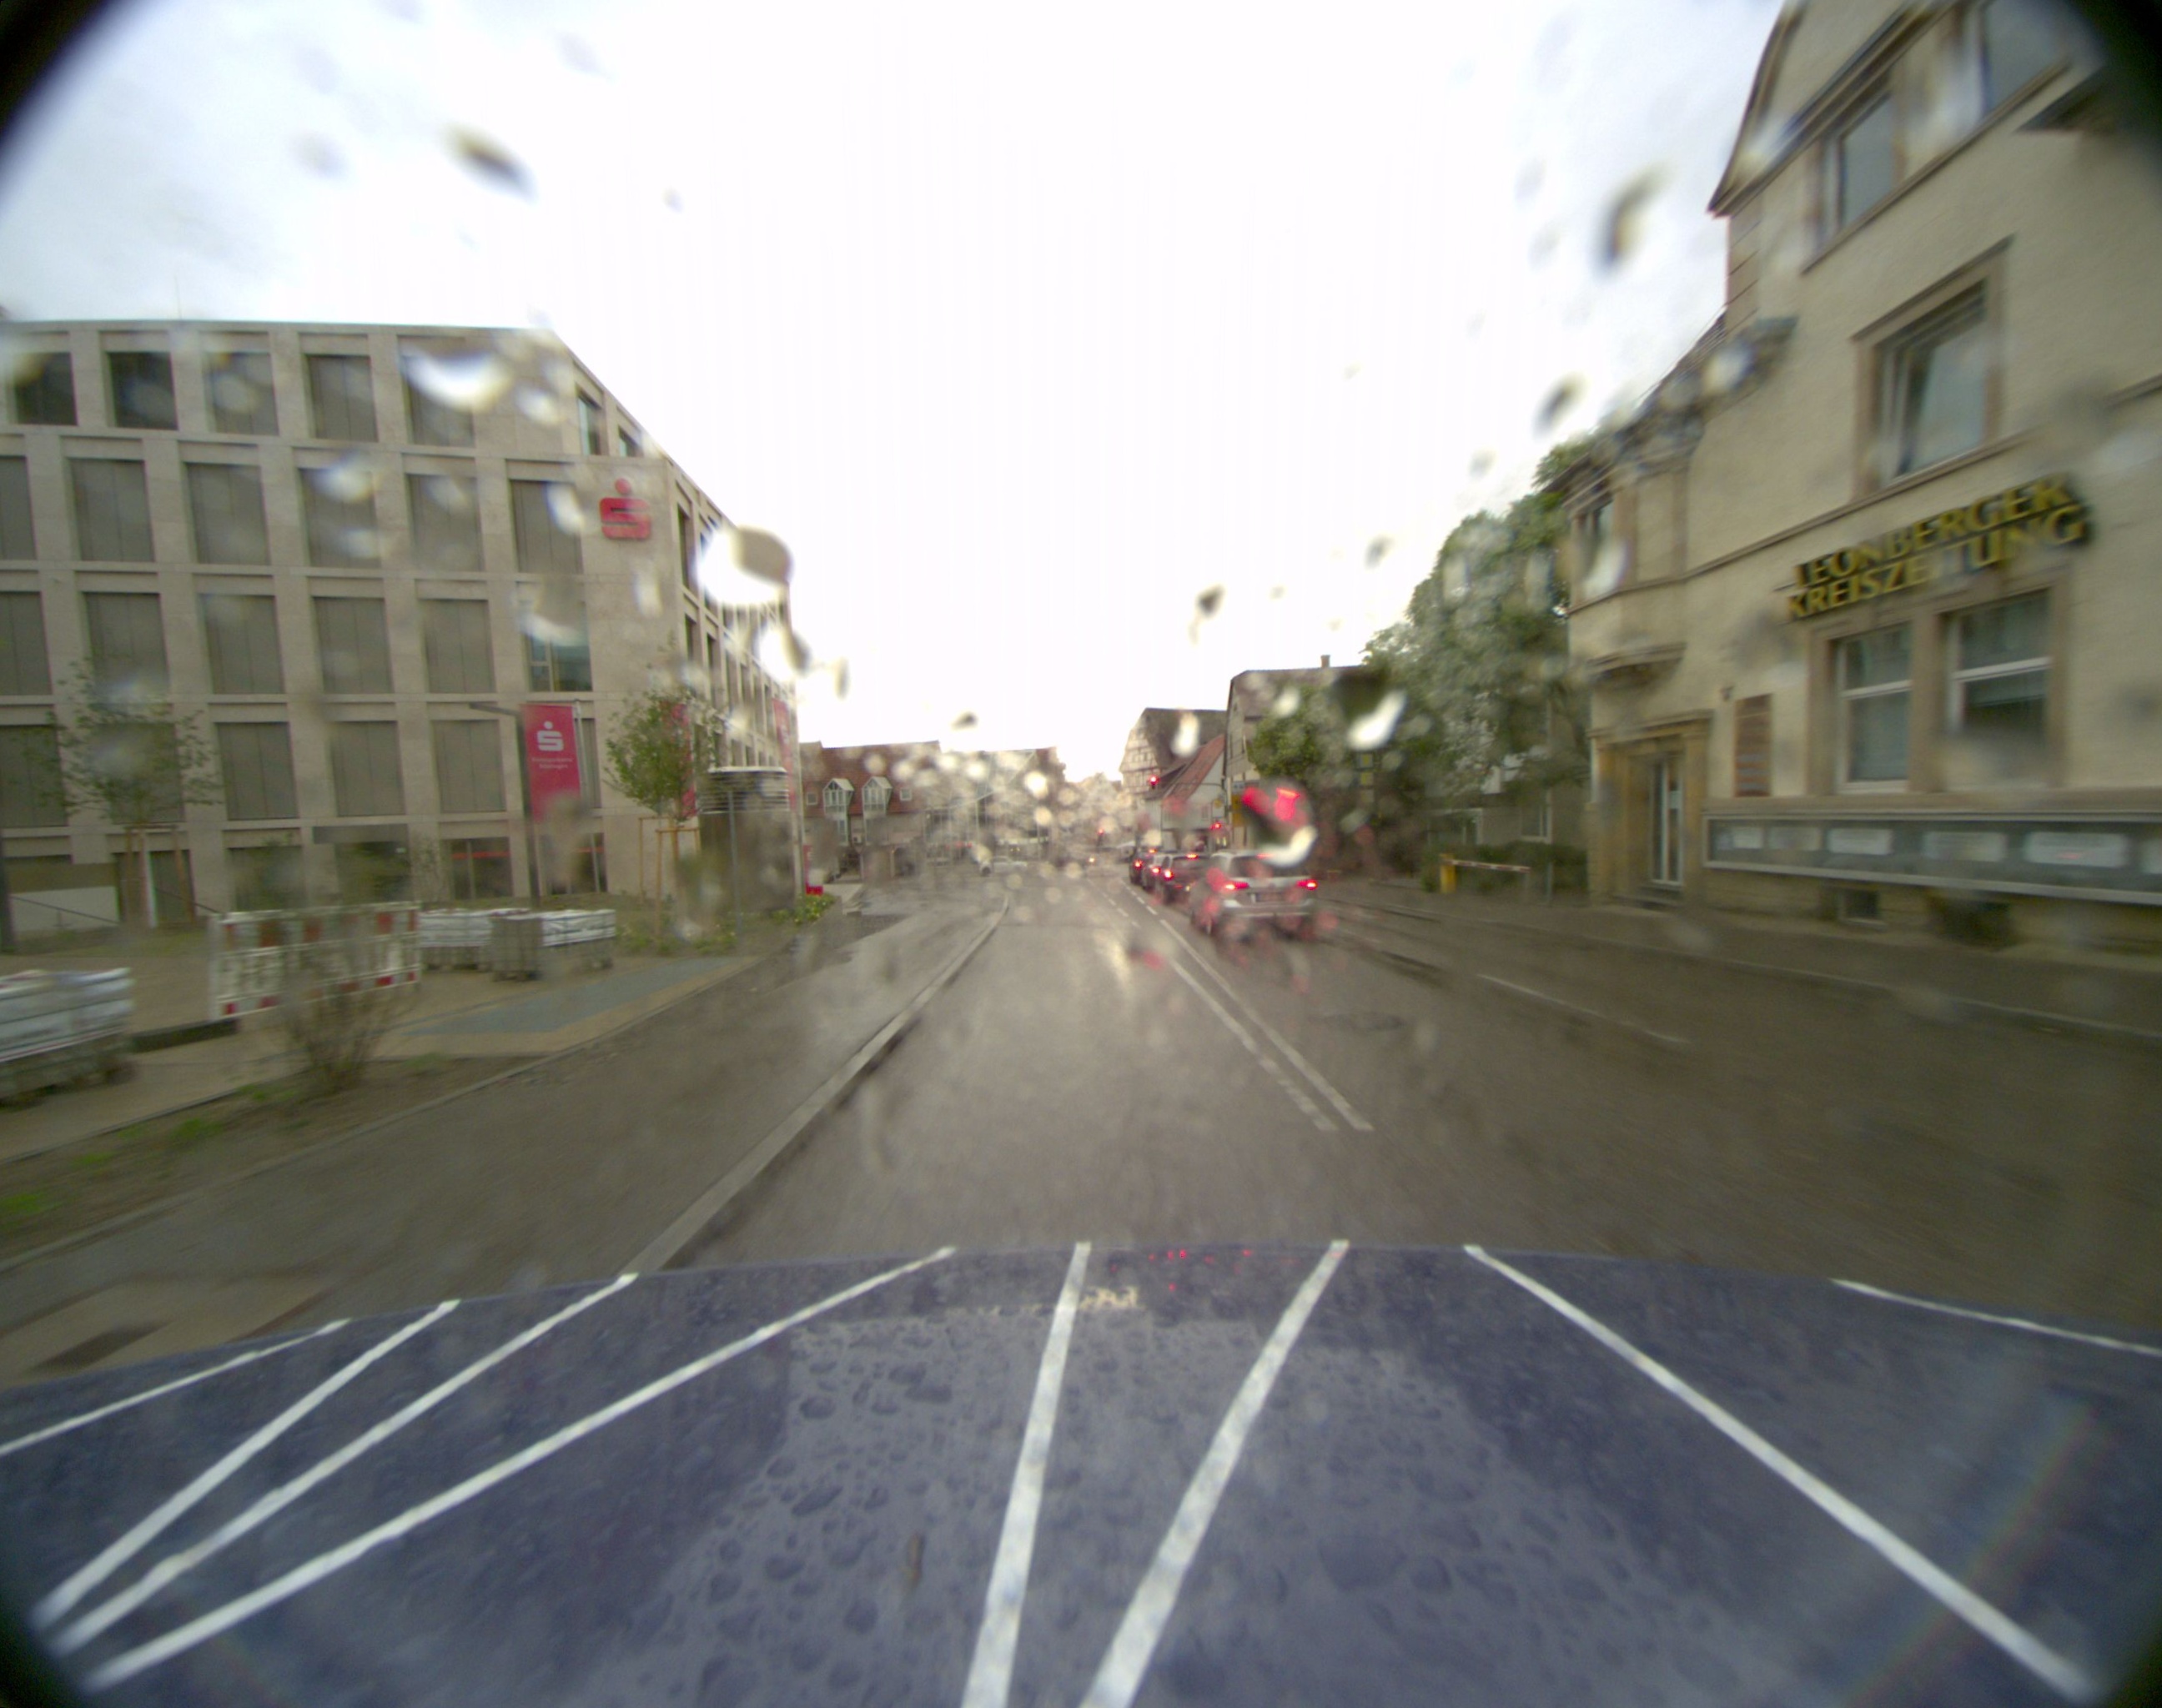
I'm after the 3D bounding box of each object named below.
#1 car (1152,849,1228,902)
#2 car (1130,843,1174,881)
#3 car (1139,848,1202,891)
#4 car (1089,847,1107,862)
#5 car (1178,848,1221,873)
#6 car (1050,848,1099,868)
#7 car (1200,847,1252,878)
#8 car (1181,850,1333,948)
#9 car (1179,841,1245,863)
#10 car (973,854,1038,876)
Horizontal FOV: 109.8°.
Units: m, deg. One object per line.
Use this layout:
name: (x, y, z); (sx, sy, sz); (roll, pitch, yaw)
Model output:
car: (3.313, 0.594, 23.901); (1.803, 1.431, 4.689); (-3, 1, 2)
car: (3.421, 0.358, 37.185); (1.852, 1.654, 4.219); (-3, 1, 2)
car: (3.412, 0.548, 29.915); (1.945, 1.432, 5.016); (-3, 0, 1)
car: (1.970, 0.054, 87.951); (1.727, 1.538, 3.999); (-3, 1, -2)
car: (6.644, 0.337, 42.956); (1.852, 1.286, 4.032); (-3, 1, 2)
car: (-0.552, 0.342, 67.925); (3.995, 1.534, 2.001); (-3, 1, 8)
car: (6.952, 0.362, 36.803); (1.742, 1.346, 4.059); (-3, 1, 1)
car: (3.023, 0.685, 14.094); (1.803, 1.431, 4.689); (-3, 1, 2)
car: (10.518, -0.162, 61.366); (5.028, 1.536, 2.000); (-3, 1, 3)
car: (-6.209, 0.863, 62.630); (5.028, 1.536, 2.000); (-3, 1, 3)
